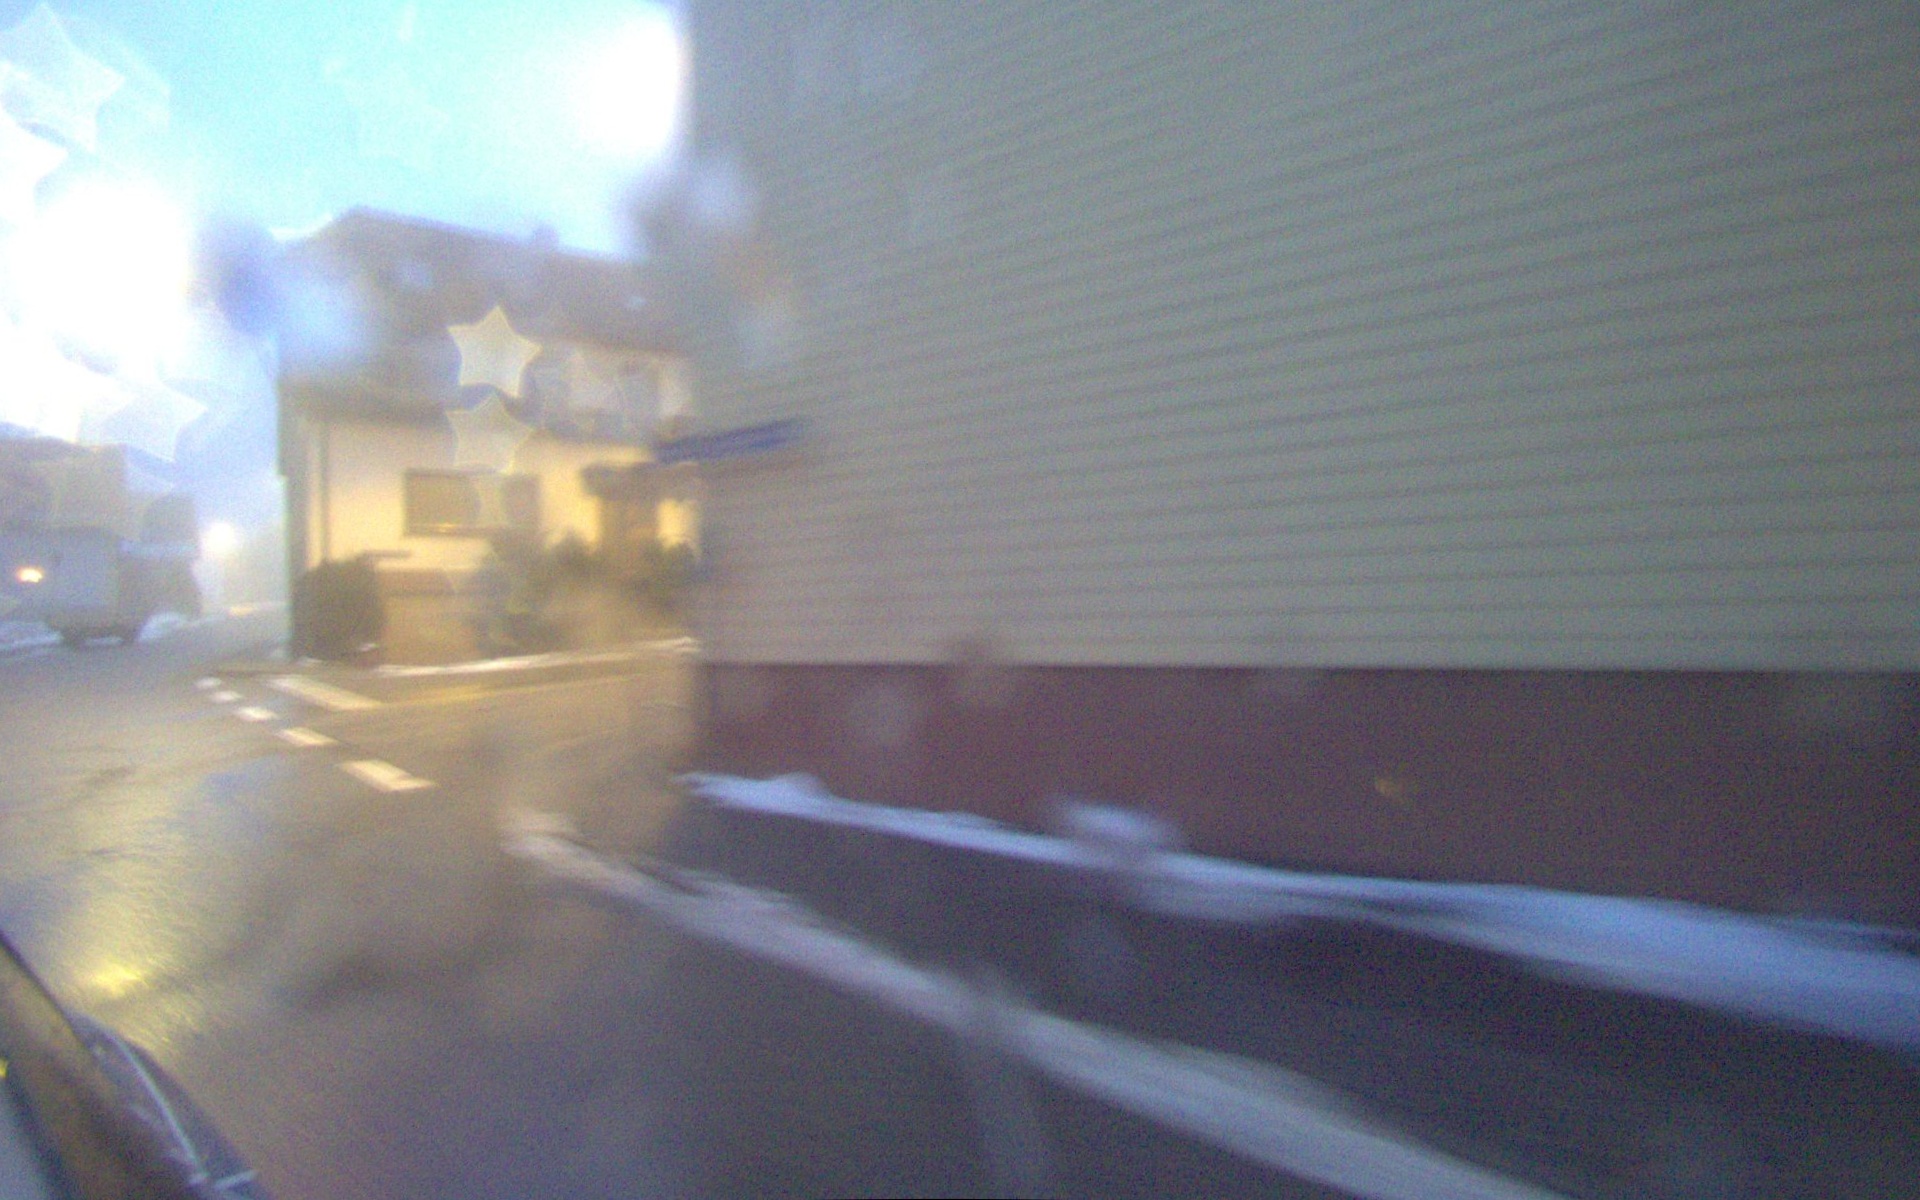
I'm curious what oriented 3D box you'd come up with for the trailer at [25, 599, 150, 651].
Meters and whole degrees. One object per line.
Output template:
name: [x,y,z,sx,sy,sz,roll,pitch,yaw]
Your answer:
trailer: [-27.647,0.721,32.258,1.966,1.398,4.747,-3,2,-28]
